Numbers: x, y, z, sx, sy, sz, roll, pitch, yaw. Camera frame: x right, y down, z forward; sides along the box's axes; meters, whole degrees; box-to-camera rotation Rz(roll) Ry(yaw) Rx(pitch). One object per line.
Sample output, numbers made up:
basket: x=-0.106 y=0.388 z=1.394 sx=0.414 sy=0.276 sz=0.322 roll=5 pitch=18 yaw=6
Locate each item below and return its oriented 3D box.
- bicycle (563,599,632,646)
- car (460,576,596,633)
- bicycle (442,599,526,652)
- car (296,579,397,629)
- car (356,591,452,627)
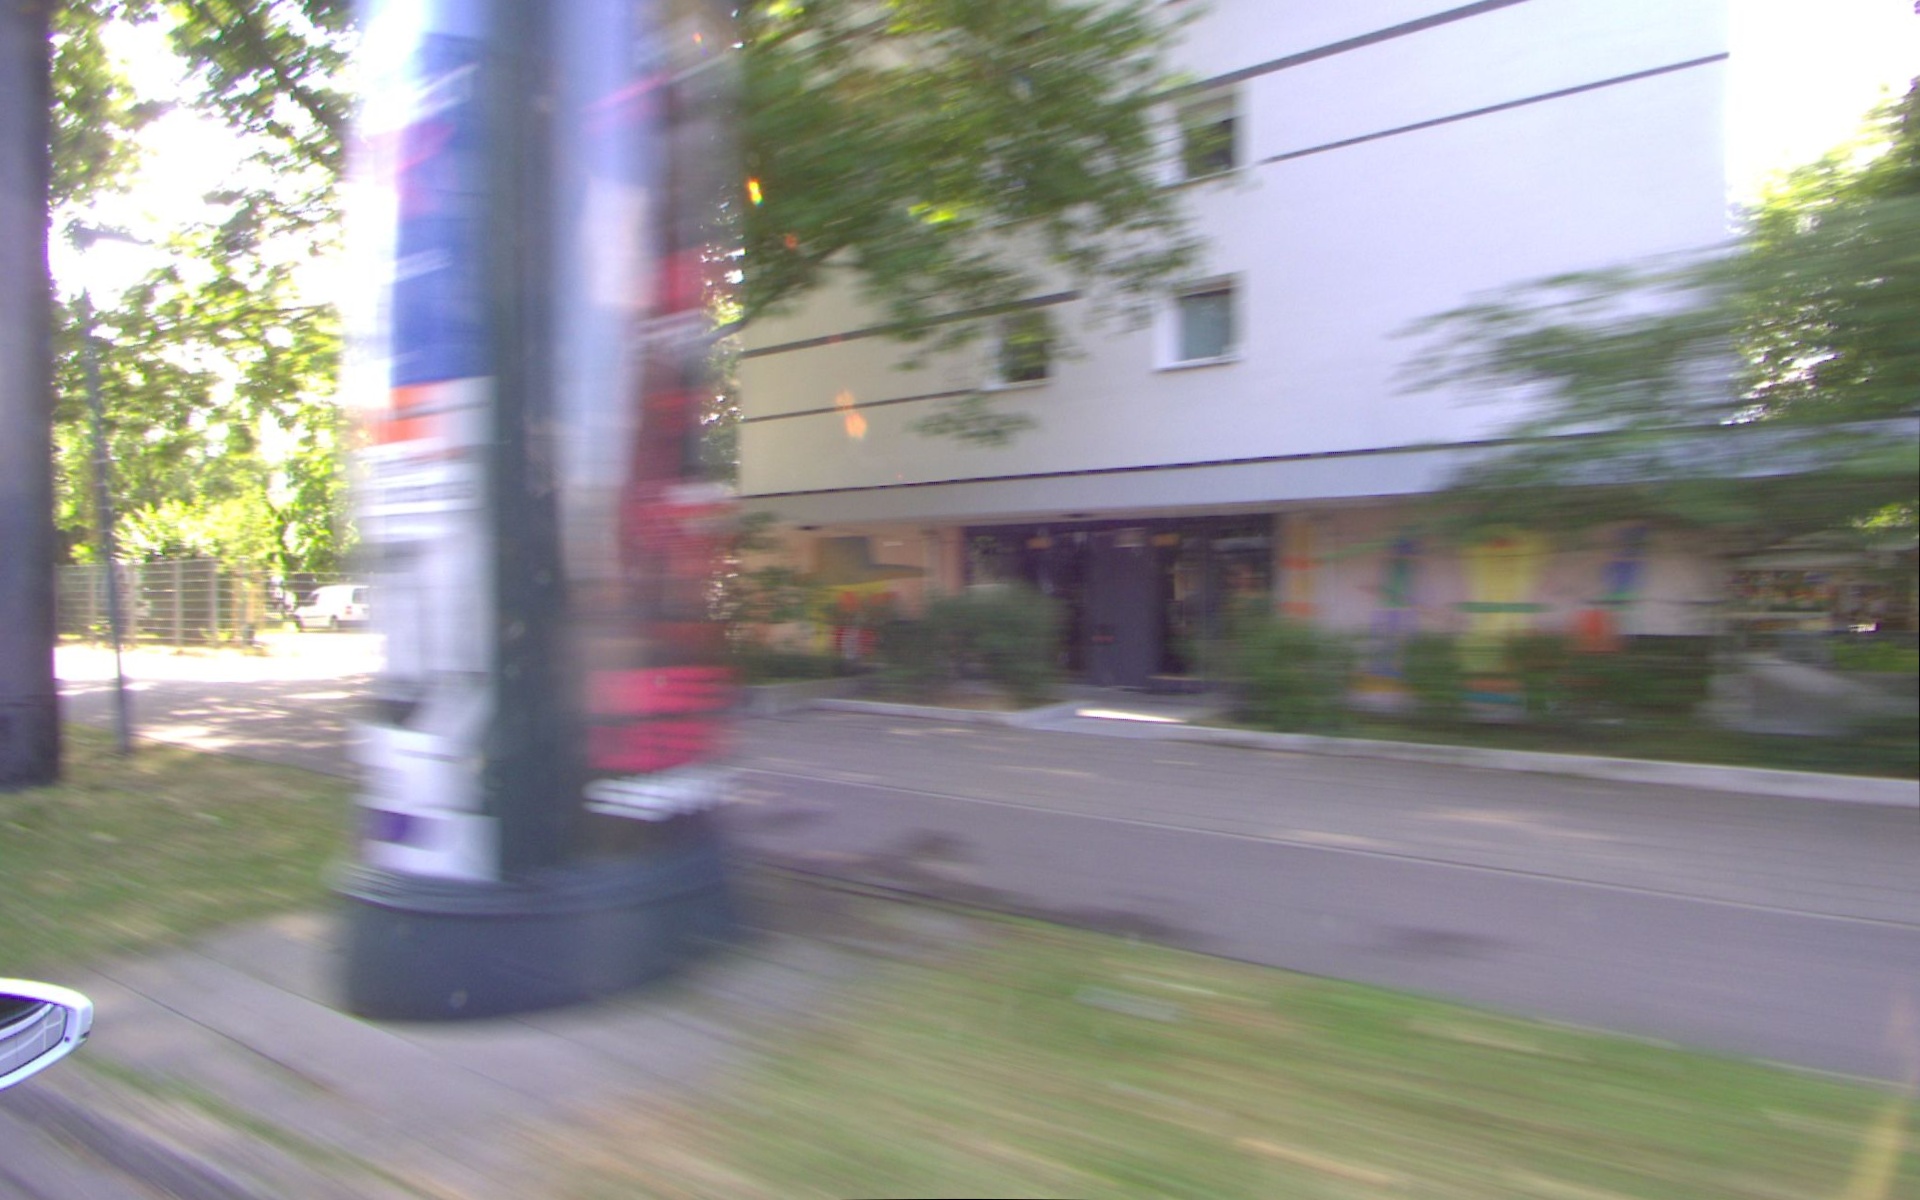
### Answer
bicycle: x=-8.646 y=0.526 z=23.855 sx=1.699 sy=1.079 sz=0.515 roll=1 pitch=1 yaw=27
car: x=-14.297 y=0.118 z=33.050 sx=4.701 sy=1.779 sz=1.734 roll=1 pitch=0 yaw=31
bicycle: x=-10.248 y=0.532 z=21.536 sx=1.808 sy=1.087 sz=0.605 roll=1 pitch=1 yaw=24
car: x=-23.957 y=0.131 z=39.073 sx=4.279 sy=1.839 sz=1.802 roll=1 pitch=0 yaw=35
car: x=-22.967 y=0.346 z=41.348 sx=3.989 sy=1.421 sz=1.803 roll=1 pitch=0 yaw=33
